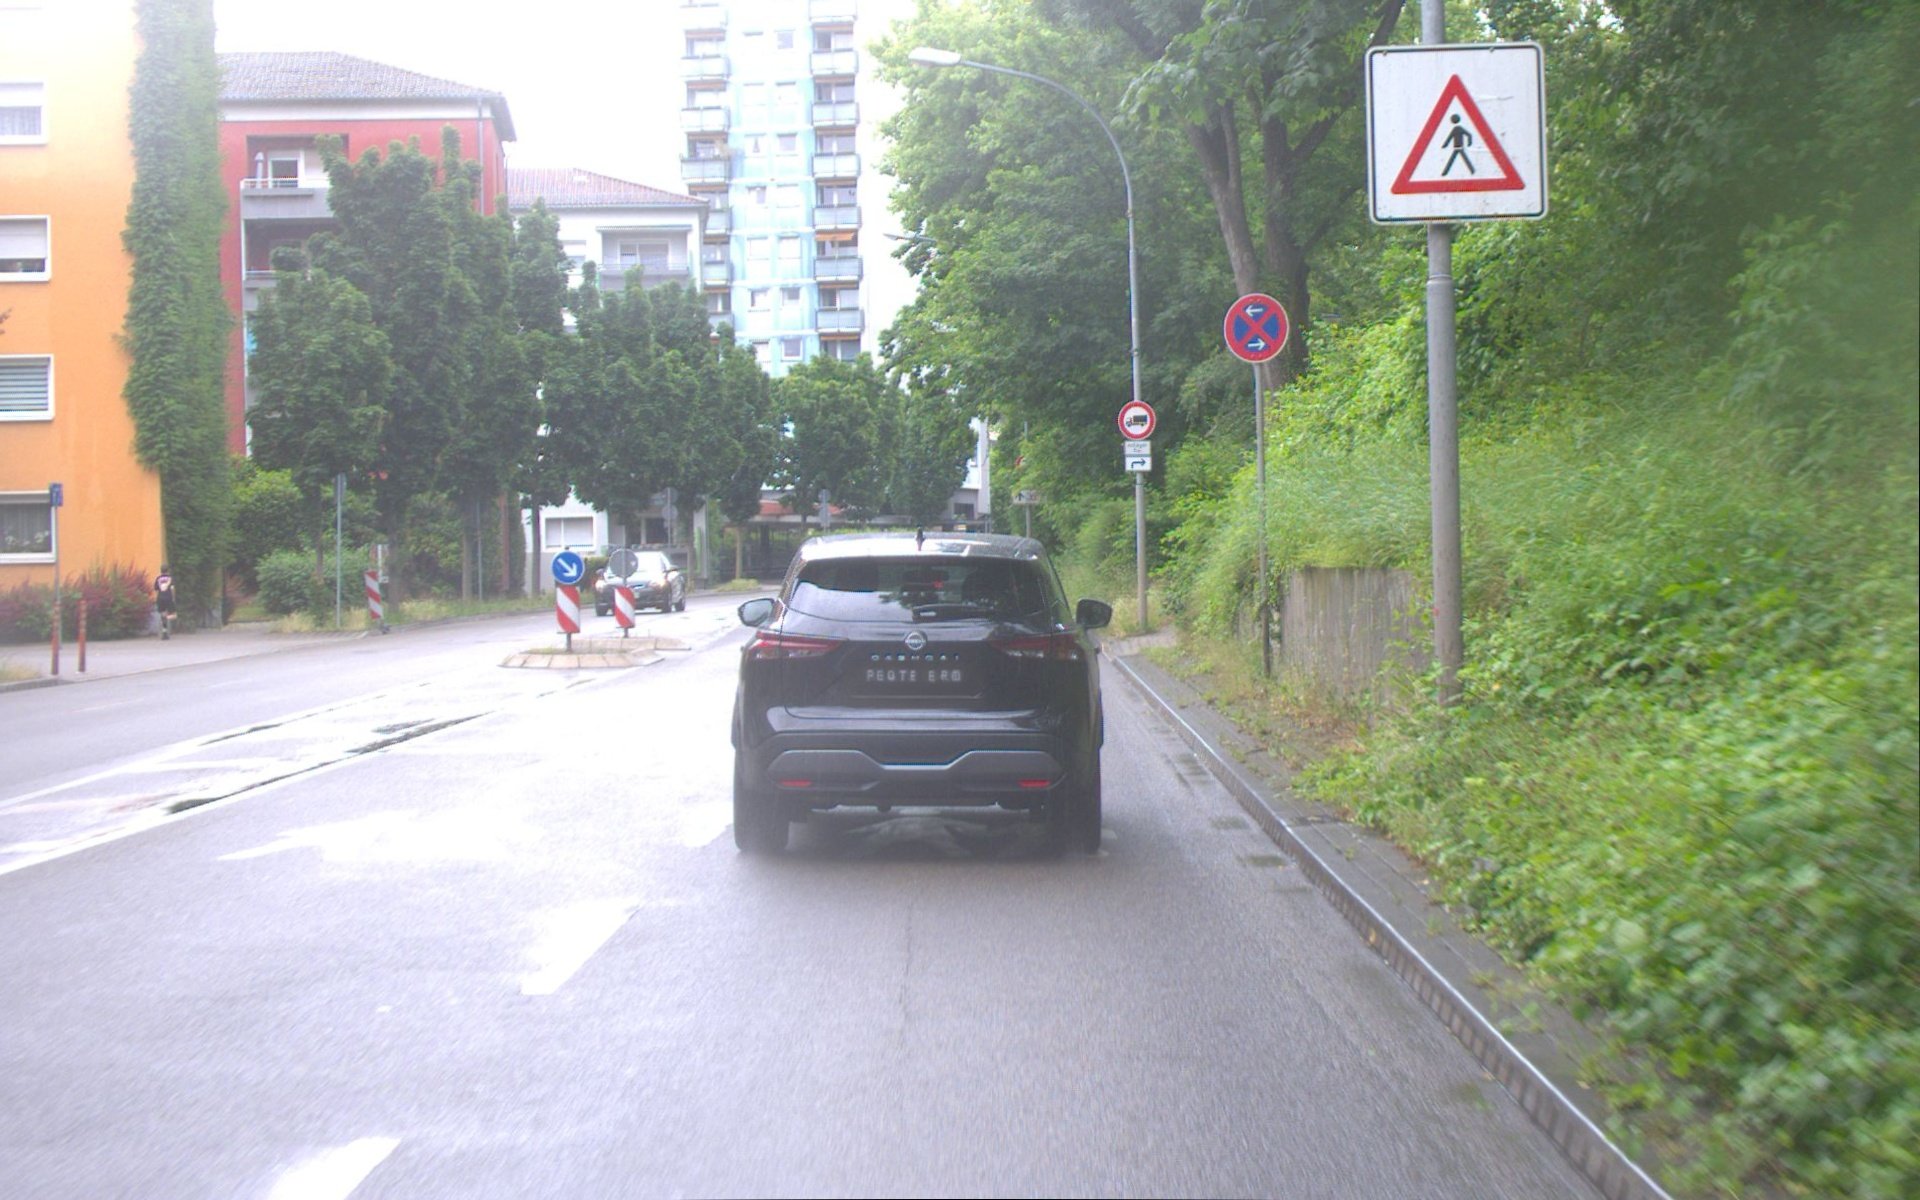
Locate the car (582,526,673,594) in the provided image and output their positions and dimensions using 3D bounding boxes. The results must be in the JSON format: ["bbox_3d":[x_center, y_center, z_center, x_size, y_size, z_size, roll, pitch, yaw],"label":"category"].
[{"bbox_3d":[-7.954,-0.990,82.605,1.788,1.499,4.649,-3,1,-2],"label":"car"}]

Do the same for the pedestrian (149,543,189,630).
[{"bbox_3d":[-15.467,-0.262,67.240,0.609,1.668,0.594,-2,1,-3],"label":"pedestrian"}]

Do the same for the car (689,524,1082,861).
[{"bbox_3d":[-0.390,0.391,18.212,1.844,1.577,4.000,0,1,-1],"label":"car"}]

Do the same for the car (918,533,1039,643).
[{"bbox_3d":[0.272,-0.223,56.370,1.887,1.705,4.000,-1,1,0],"label":"car"}]

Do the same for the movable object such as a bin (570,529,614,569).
[{"bbox_3d":[-12.900,-1.791,120.572,1.321,1.357,1.258,-2,1,1],"label":"movable object such as a bin"}]
